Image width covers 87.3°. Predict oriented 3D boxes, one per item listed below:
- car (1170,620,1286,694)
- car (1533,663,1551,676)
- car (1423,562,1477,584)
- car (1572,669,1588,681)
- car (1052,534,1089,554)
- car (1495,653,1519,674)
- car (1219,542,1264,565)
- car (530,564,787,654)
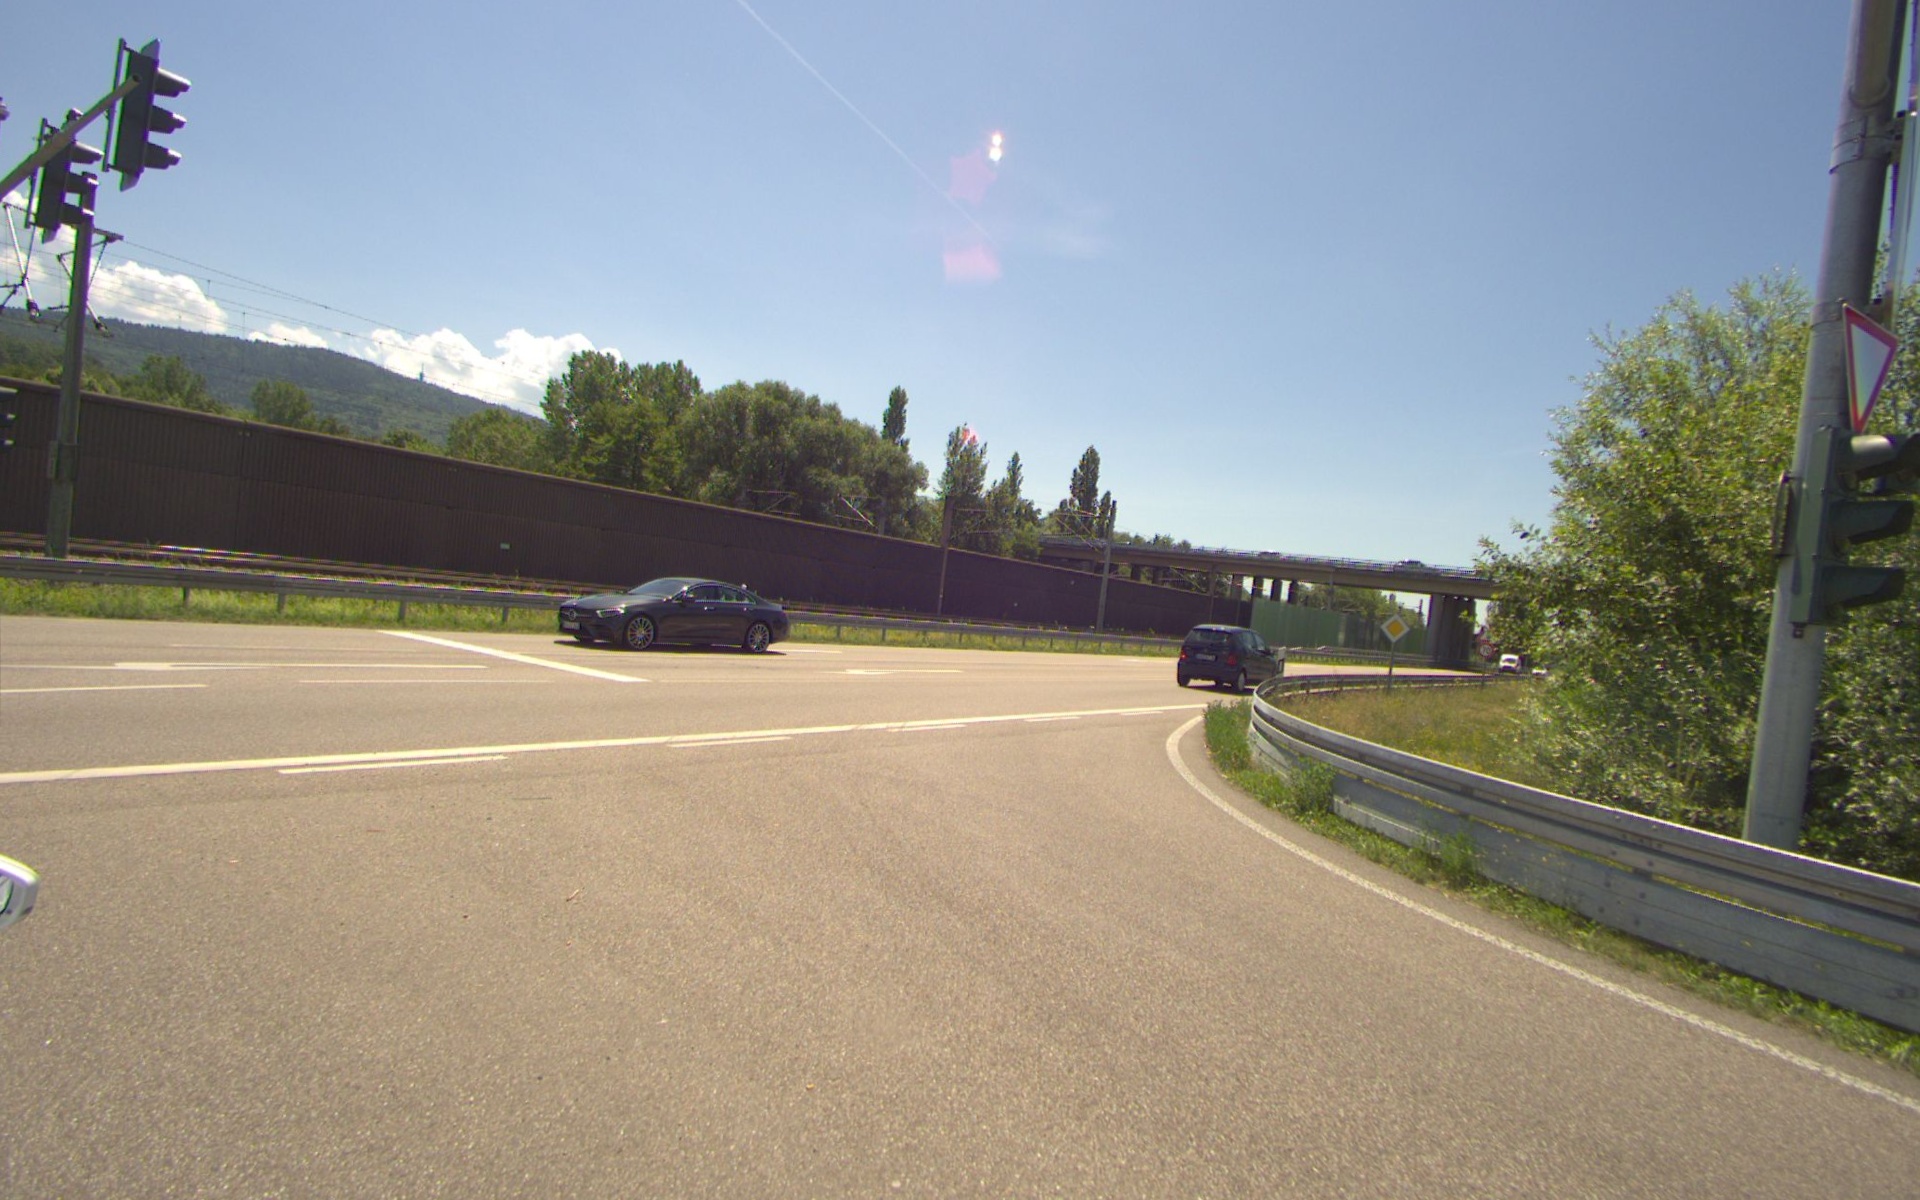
[{"bbox_3d":[6.951,1.498,25.896,1.618,1.617,3.549,6,0,36],"label":"car"},{"bbox_3d":[90.016,10.772,155.531,1.815,1.712,3.986,7,1,36],"label":"car"},{"bbox_3d":[50.953,-2.812,104.645,4.581,1.919,1.904,5,0,39],"label":"car"},{"bbox_3d":[89.257,10.796,144.710,1.566,1.581,3.674,5,0,36],"label":"car"},{"bbox_3d":[14.926,-7.577,135.923,4.584,2.472,1.903,5,0,41],"label":"car"},{"bbox_3d":[68.929,8.022,126.830,1.884,2.472,4.631,5,0,36],"label":"car"},{"bbox_3d":[33.751,-5.561,120.671,4.584,2.472,1.903,5,0,41],"label":"car"},{"bbox_3d":[-5.806,0.236,19.933,1.884,1.381,4.631,5,-1,36],"label":"car"}]
